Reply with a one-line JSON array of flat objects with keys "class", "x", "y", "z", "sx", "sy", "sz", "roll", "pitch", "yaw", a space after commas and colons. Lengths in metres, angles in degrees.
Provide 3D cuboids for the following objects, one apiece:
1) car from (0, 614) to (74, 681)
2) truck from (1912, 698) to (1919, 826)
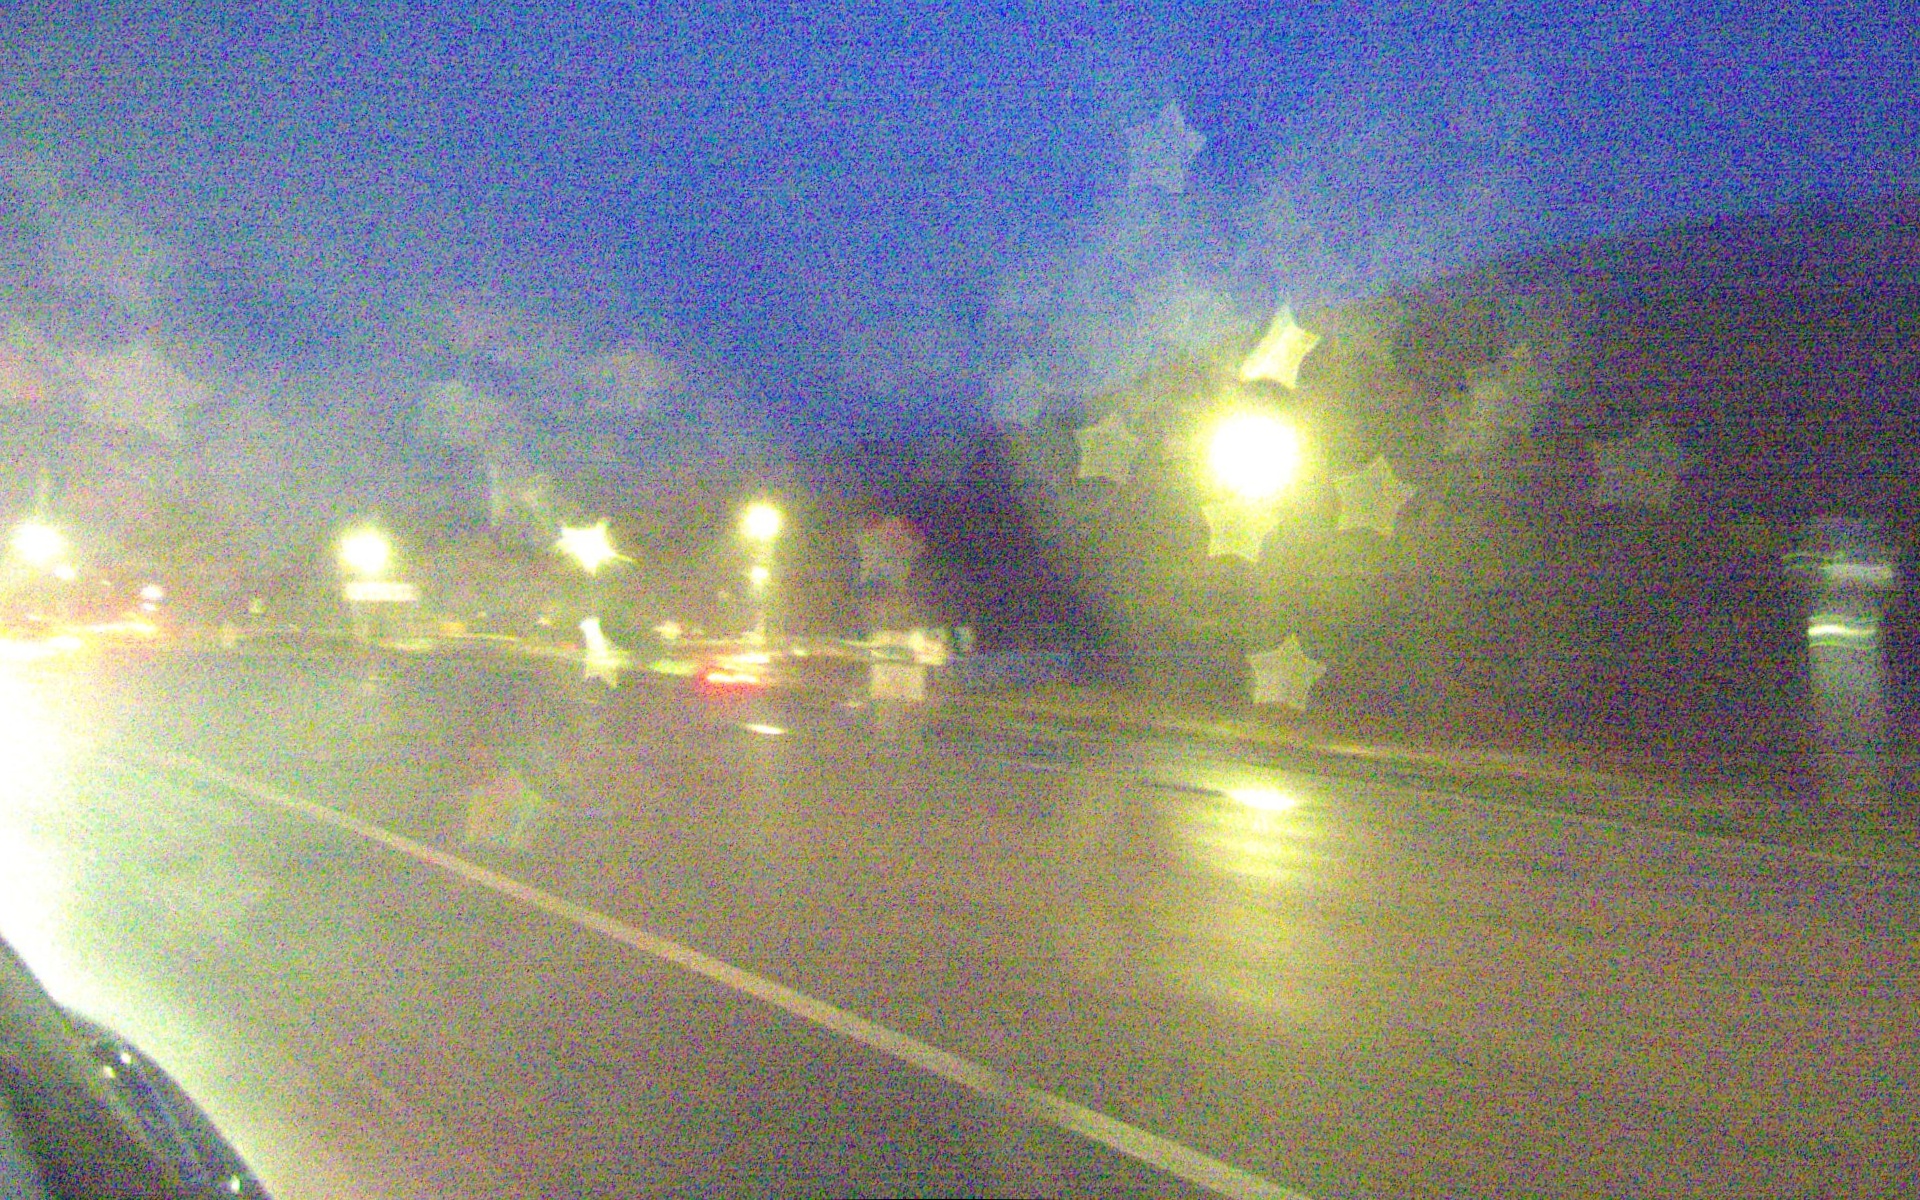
[{"class": "car", "x": -23.043, "y": 1.113, "z": 24.607, "sx": 3.855, "sy": 1.502, "sz": 1.636, "roll": -1, "pitch": 0, "yaw": 39}, {"class": "truck", "x": 22.203, "y": 3.328, "z": 18.447, "sx": 2.141, "sy": 2.538, "sz": 6.881, "roll": 7, "pitch": -5, "yaw": -40}]
